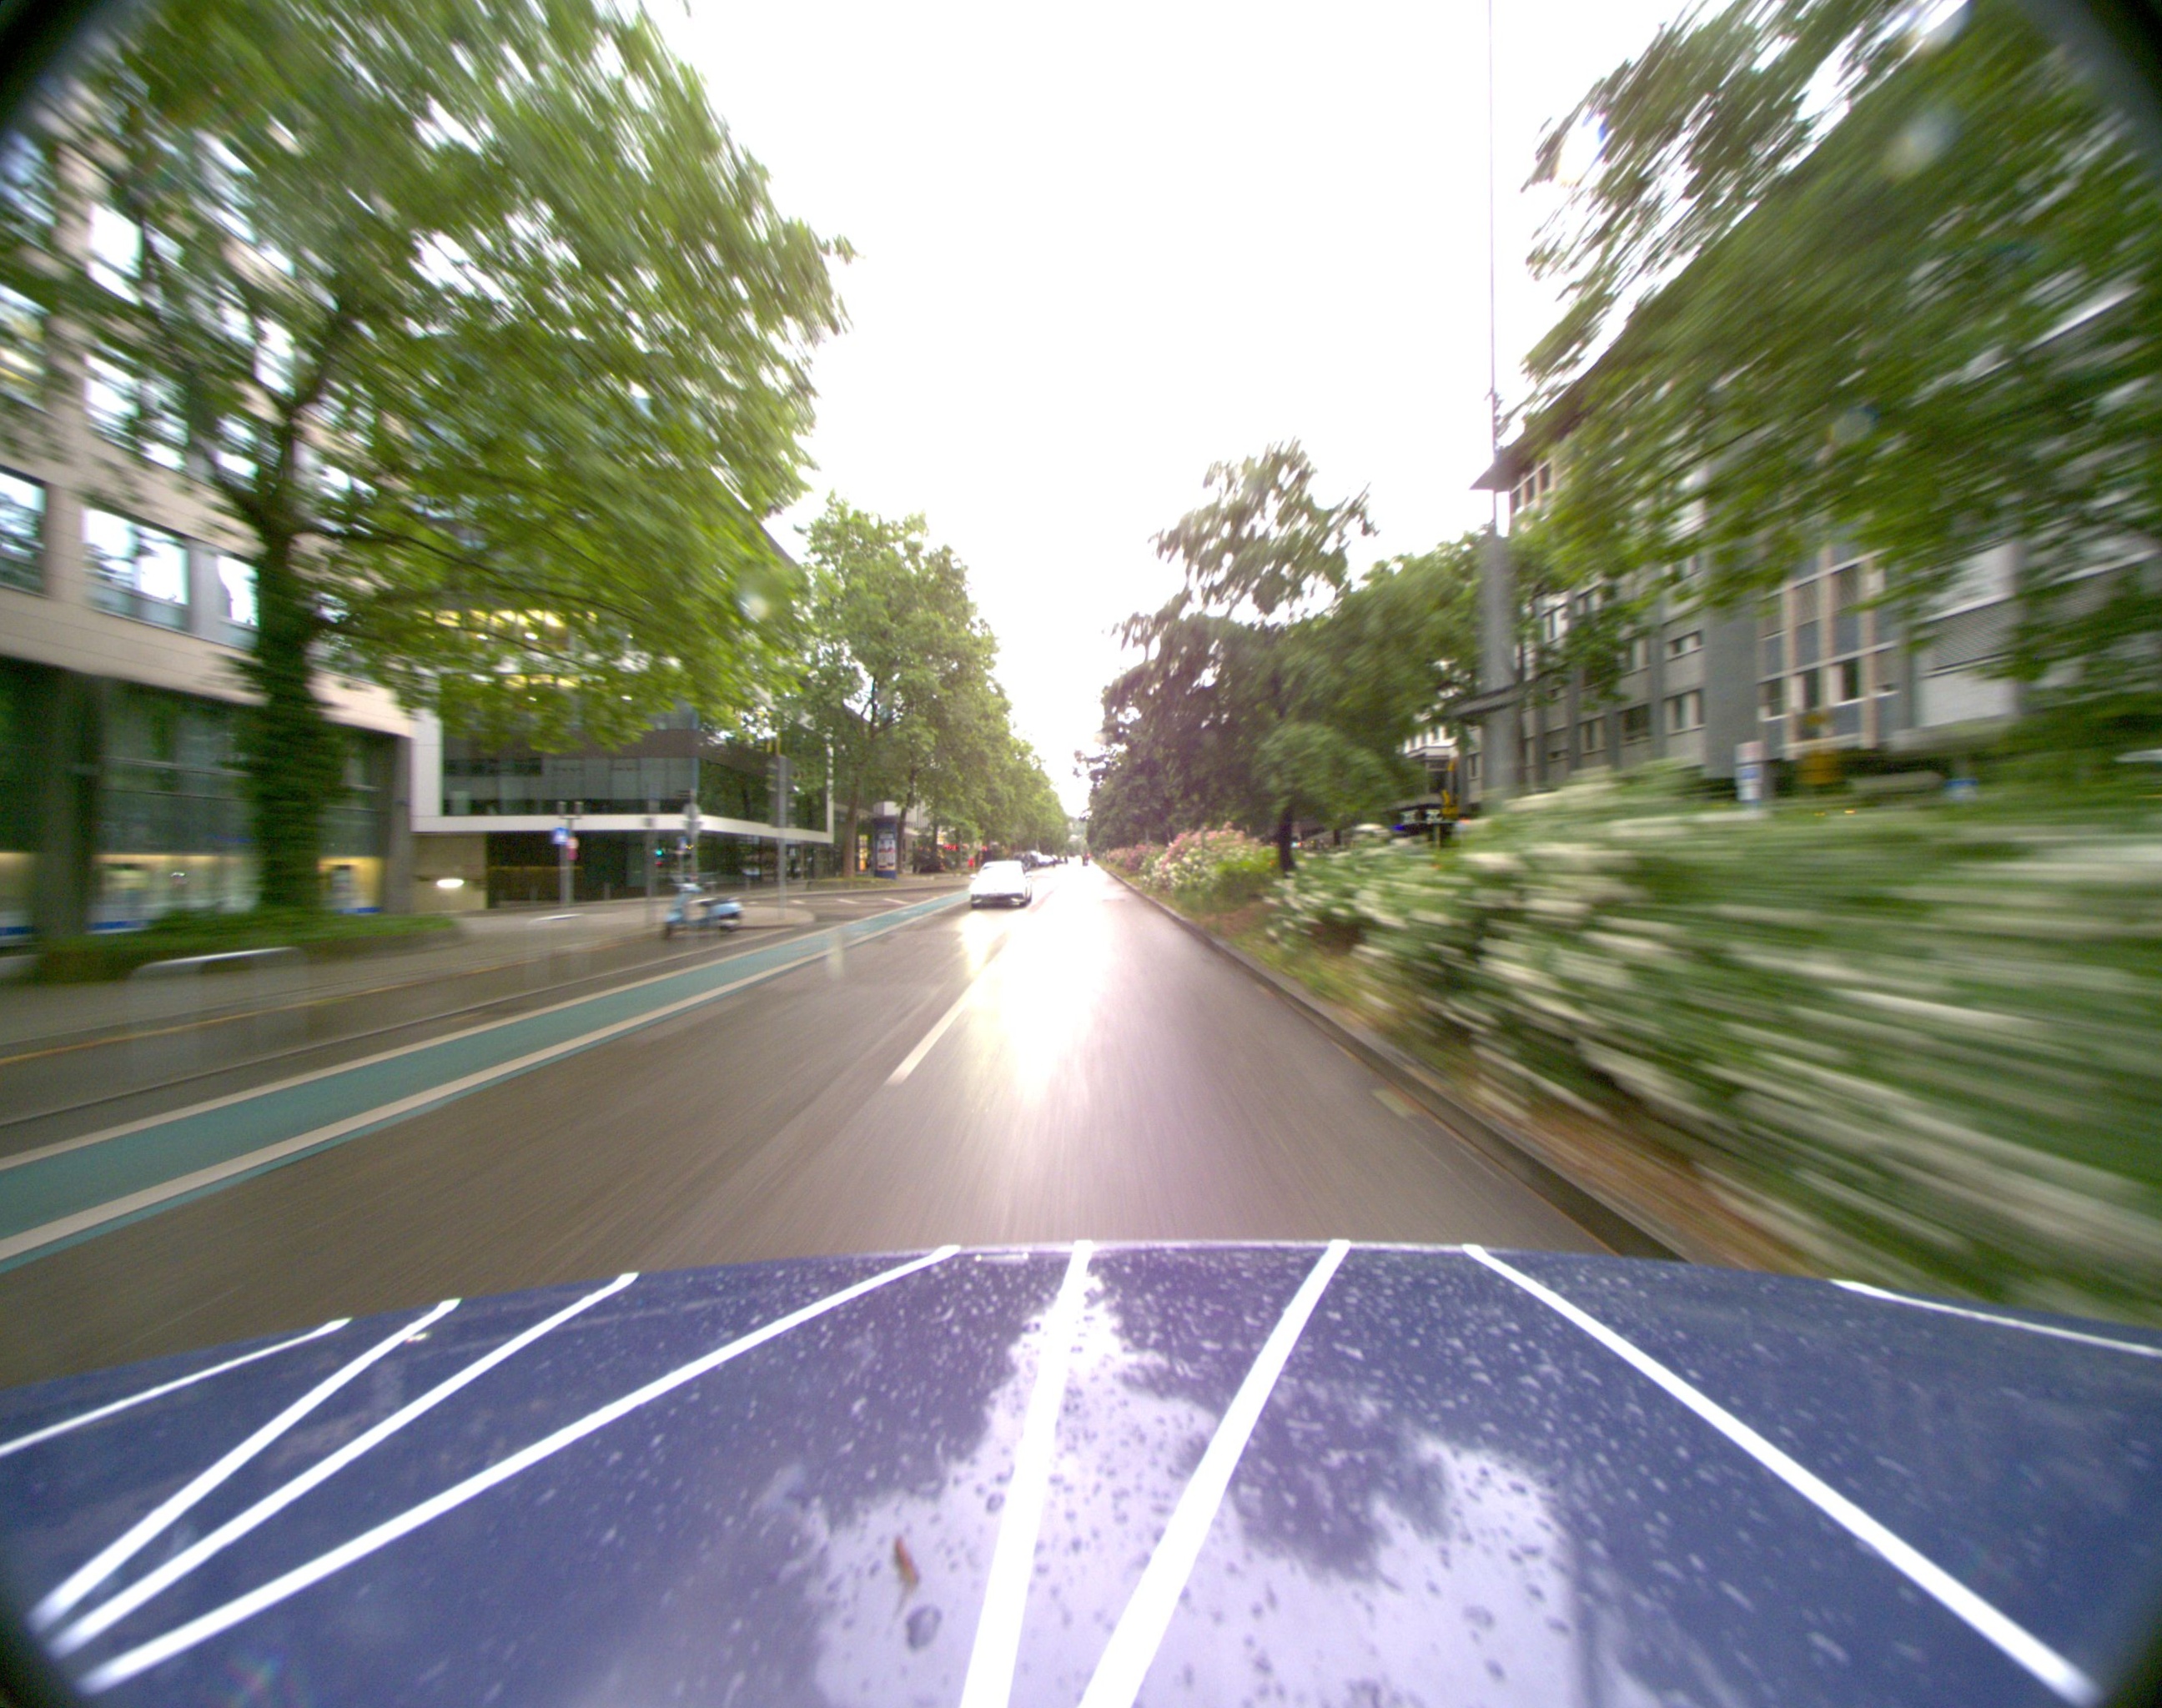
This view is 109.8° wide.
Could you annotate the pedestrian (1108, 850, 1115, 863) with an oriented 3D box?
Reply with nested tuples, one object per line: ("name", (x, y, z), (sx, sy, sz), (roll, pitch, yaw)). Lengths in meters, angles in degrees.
("pedestrian", (4.373, 0.287, 109.328), (0.892, 1.839, 0.720), (-2, 1, -13))

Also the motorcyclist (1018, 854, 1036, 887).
("motorcyclist", (-2.664, 0.818, 37.408), (0.744, 1.575, 1.059), (-2, 1, 0))

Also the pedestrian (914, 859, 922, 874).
("pedestrian", (-15.970, 1.216, 74.550), (0.588, 1.496, 1.005), (0, 0, 1))

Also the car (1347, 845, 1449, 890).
("car", (10.996, 0.419, 26.697), (1.731, 1.420, 4.497), (1, 0, 1))

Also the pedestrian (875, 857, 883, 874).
("pedestrian", (-20.024, 1.110, 75.288), (0.527, 1.616, 0.719), (1, 2, 0))

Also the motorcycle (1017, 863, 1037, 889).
("motorcycle", (-2.660, 1.071, 37.472), (0.744, 1.194, 2.235), (-2, 1, 1))

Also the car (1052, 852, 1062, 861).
("car", (-4.117, 0.446, 131.134), (1.598, 1.516, 3.425), (-2, 0, 1))

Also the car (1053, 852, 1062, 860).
("car", (-4.448, 0.439, 144.771), (1.598, 1.516, 3.425), (-2, 0, 0))

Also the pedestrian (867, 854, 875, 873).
("pedestrian", (-20.810, 0.961, 75.309), (0.524, 1.848, 0.704), (1, 2, 0))

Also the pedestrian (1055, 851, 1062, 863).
("pedestrian", (-3.391, 0.475, 114.804), (0.893, 1.839, 0.786), (-2, 1, -13))

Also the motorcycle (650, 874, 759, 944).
("motorcycle", (-8.039, 1.139, 16.283), (0.683, 1.359, 1.950), (3, 2, 41))

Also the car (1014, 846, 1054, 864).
("car", (-7.455, 0.160, 120.926), (6.267, 2.665, 2.326), (-1, 1, 36))

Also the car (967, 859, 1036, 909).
("car", (-2.580, 0.957, 25.544), (1.795, 1.463, 3.793), (-2, 0, 1))
